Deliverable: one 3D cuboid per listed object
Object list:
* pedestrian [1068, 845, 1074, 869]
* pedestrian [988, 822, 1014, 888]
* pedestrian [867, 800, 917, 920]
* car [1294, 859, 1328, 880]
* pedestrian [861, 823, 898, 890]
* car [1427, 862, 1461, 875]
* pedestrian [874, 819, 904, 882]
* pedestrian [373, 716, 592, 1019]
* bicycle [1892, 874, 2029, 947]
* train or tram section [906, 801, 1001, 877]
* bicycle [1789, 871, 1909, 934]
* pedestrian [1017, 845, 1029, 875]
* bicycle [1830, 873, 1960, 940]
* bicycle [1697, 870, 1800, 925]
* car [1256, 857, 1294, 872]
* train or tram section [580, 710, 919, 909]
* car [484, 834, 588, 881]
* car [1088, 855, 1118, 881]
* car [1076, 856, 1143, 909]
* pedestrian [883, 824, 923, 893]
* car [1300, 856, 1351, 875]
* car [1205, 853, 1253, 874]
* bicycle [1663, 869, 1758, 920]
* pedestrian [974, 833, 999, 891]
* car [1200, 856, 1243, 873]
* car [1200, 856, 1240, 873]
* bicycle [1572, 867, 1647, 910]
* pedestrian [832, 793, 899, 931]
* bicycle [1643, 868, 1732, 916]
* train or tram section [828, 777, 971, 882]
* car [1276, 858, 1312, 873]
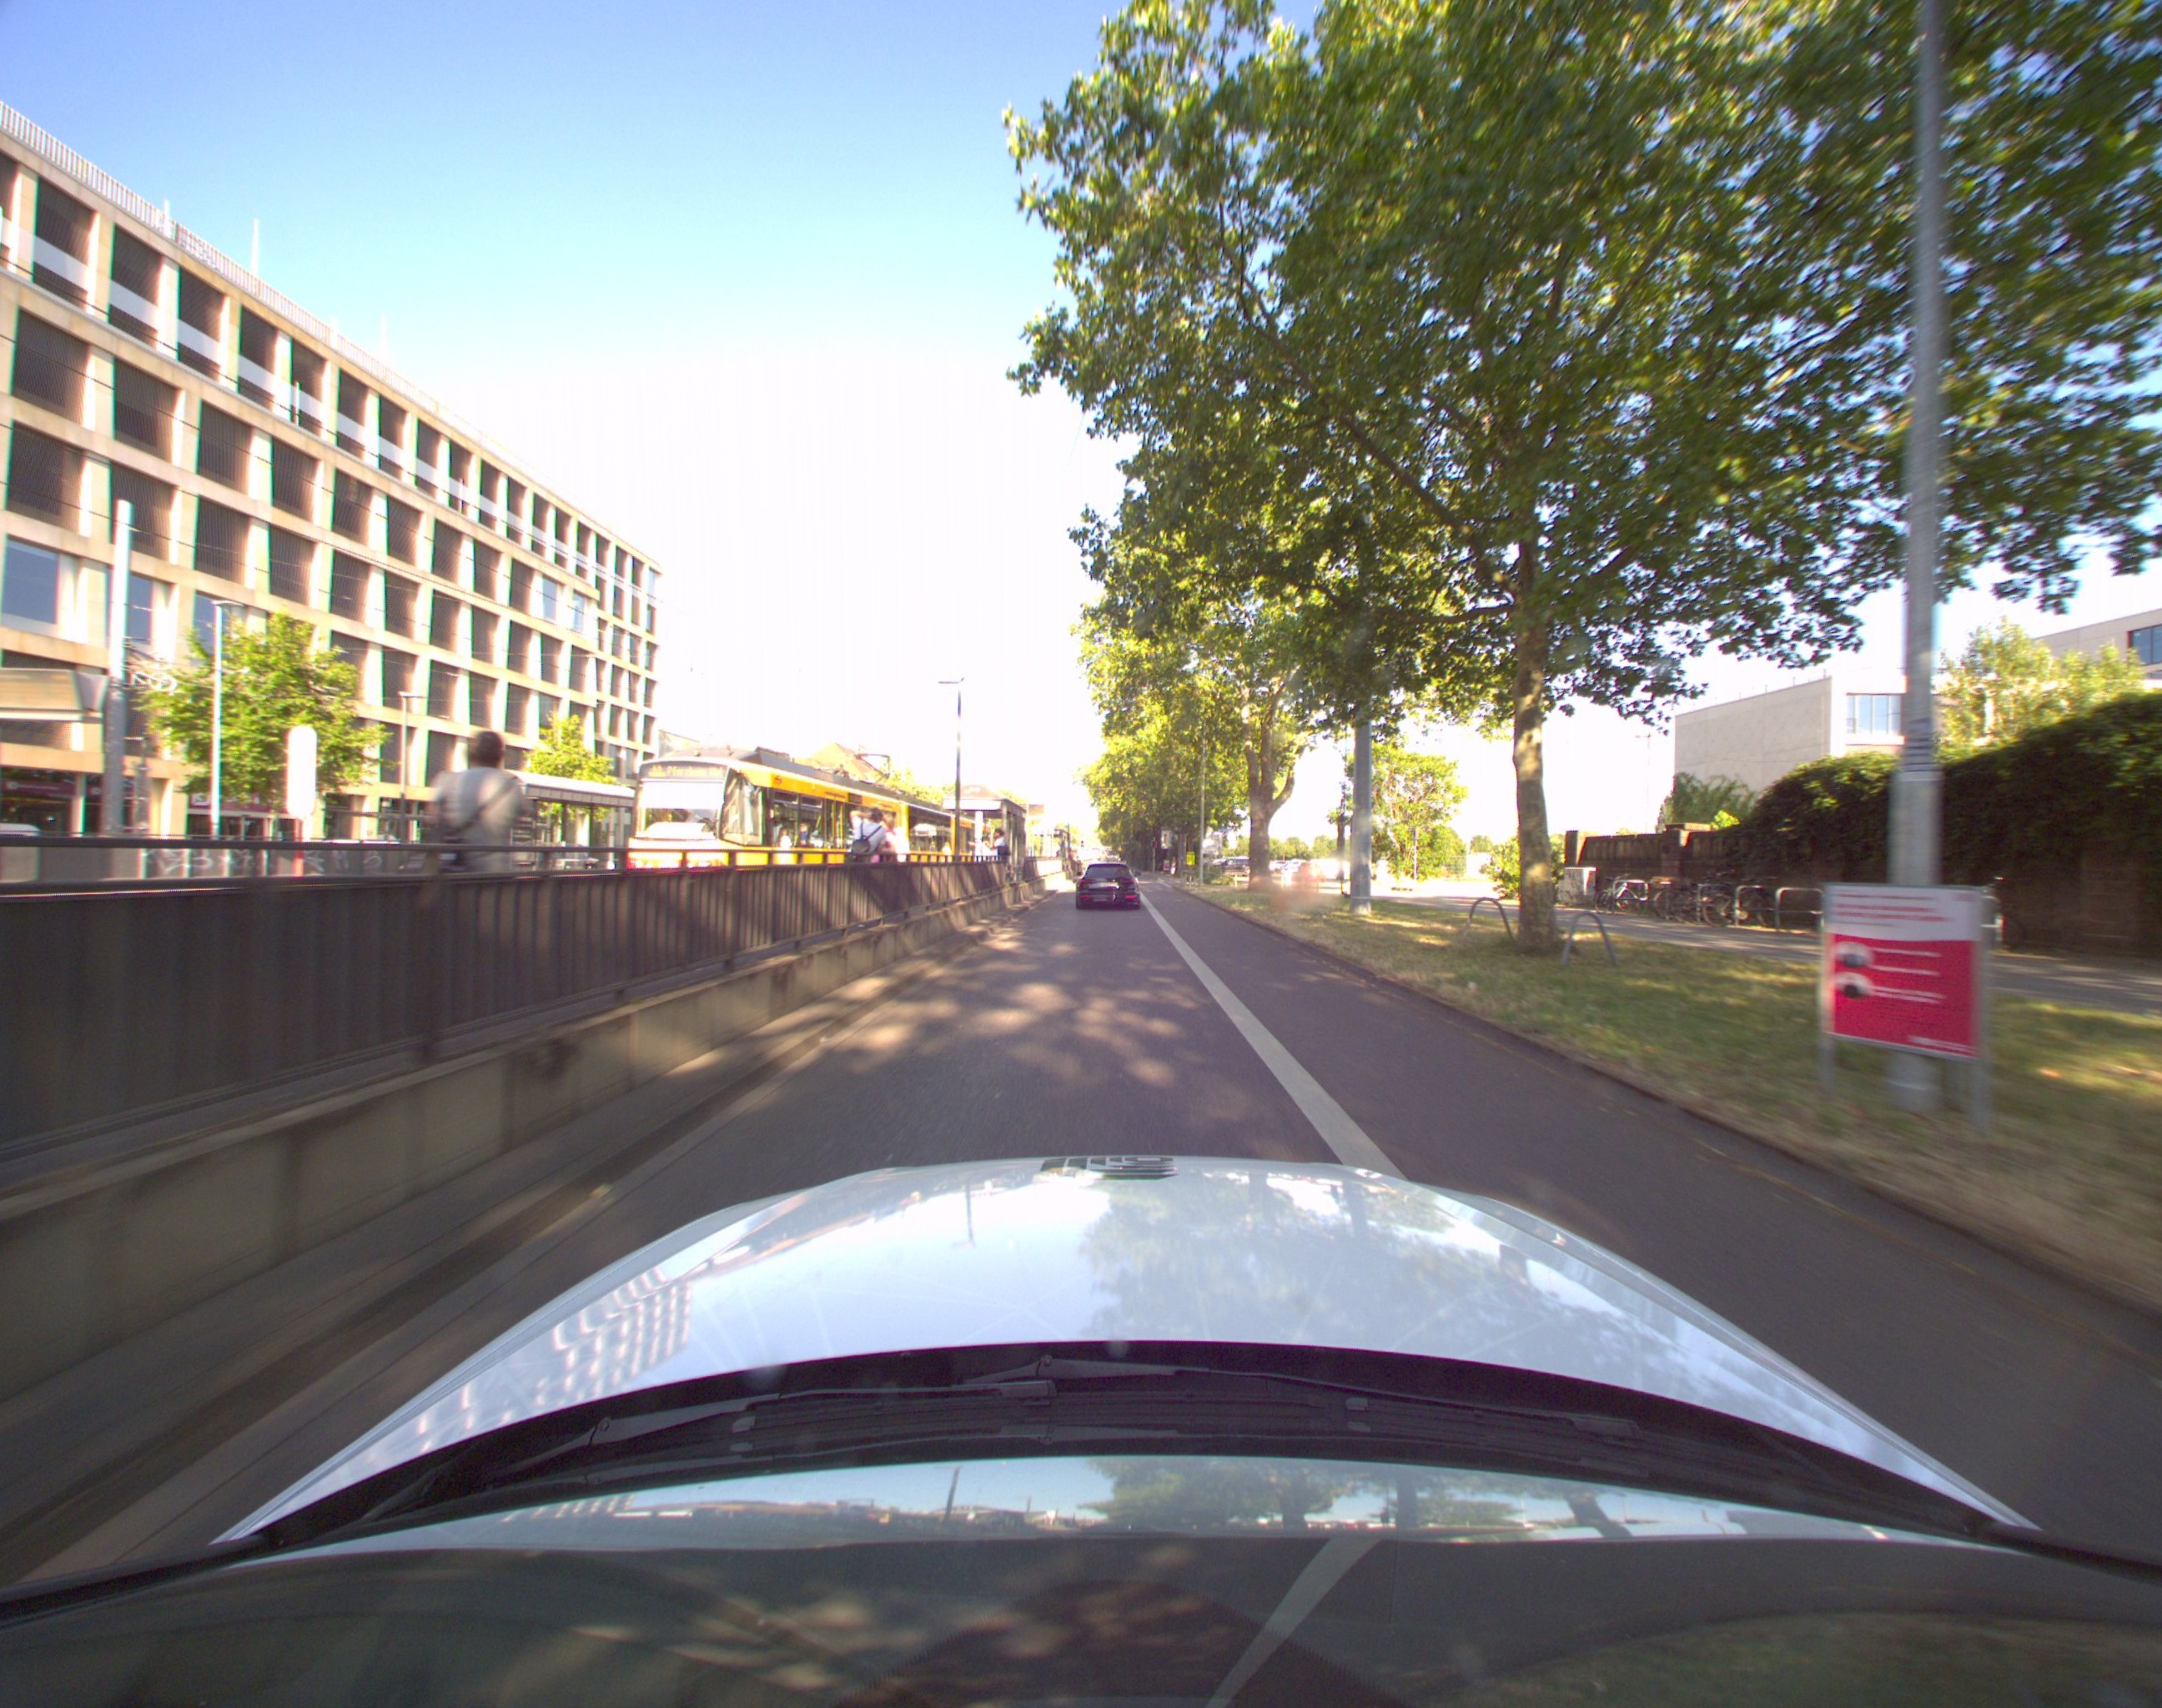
[{"bbox_3d":[-0.730,0.230,59.893,0.410,1.717,0.666,1,0,2],"label":"pedestrian"},{"bbox_3d":[-2.211,0.030,22.633,0.609,1.784,0.614,1,0,2],"label":"pedestrian"},{"bbox_3d":[-2.676,0.086,11.517,0.613,1.642,0.610,1,0,-18],"label":"pedestrian"},{"bbox_3d":[17.507,1.141,62.098,1.608,1.515,3.805,1,0,2],"label":"car"},{"bbox_3d":[-5.511,0.073,22.253,0.790,1.784,0.626,1,0,2],"label":"pedestrian"},{"bbox_3d":[49.217,1.929,110.506,3.803,1.601,1.649,1,0,-1],"label":"car"},{"bbox_3d":[-5.543,-0.091,23.553,0.609,1.784,0.775,1,0,2],"label":"pedestrian"},{"bbox_3d":[-3.320,0.063,4.574,0.610,1.549,0.727,1,0,12],"label":"pedestrian"},{"bbox_3d":[13.872,0.884,12.865,1.681,1.120,0.439,0,0,0],"label":"bicycle"},{"bbox_3d":[-7.188,-0.772,48.067,3.297,3.829,11.847,1,0,2],"label":"train or tram section"},{"bbox_3d":[14.023,0.880,14.880,1.767,1.120,0.439,0,0,0],"label":"bicycle"},{"bbox_3d":[-3.290,0.332,46.114,0.609,1.713,0.659,2,0,0],"label":"pedestrian"},{"bbox_3d":[13.910,0.887,13.932,1.767,1.120,0.439,0,0,0],"label":"bicycle"},{"bbox_3d":[13.934,0.898,17.016,1.767,1.120,0.439,0,0,0],"label":"bicycle"},{"bbox_3d":[24.706,1.328,104.045,4.341,1.816,1.998,1,0,-3],"label":"car"},{"bbox_3d":[-7.916,-0.860,23.063,3.297,3.829,14.224,1,0,2],"label":"train or tram section"},{"bbox_3d":[-24.720,0.149,37.125,1.987,2.013,3.999,1,0,-1],"label":"car"},{"bbox_3d":[1.366,0.867,52.550,1.757,1.619,3.999,1,0,0],"label":"car"},{"bbox_3d":[0.795,0.798,24.582,1.872,1.457,3.356,-1,0,-1],"label":"car"},{"bbox_3d":[-4.718,0.120,21.556,0.799,1.784,0.642,2,-1,-38],"label":"pedestrian"},{"bbox_3d":[23.752,1.097,79.238,4.436,1.658,1.921,1,0,6],"label":"car"},{"bbox_3d":[13.306,0.886,73.381,3.971,1.764,1.834,1,-1,2],"label":"car"},{"bbox_3d":[13.979,0.893,18.103,1.767,1.120,0.439,0,0,0],"label":"bicycle"},{"bbox_3d":[-2.948,0.241,25.450,0.607,1.784,0.681,1,0,2],"label":"pedestrian"},{"bbox_3d":[13.523,0.972,78.495,3.870,1.505,1.889,1,0,3],"label":"car"},{"bbox_3d":[13.008,0.970,76.284,3.580,1.462,1.679,1,0,2],"label":"car"},{"bbox_3d":[13.888,0.898,21.402,1.770,1.120,0.438,0,0,-6],"label":"bicycle"},{"bbox_3d":[-2.712,0.098,10.296,0.609,1.668,0.614,1,0,3],"label":"pedestrian"},{"bbox_3d":[14.239,0.891,19.144,1.767,1.120,0.439,0,0,0],"label":"bicycle"},{"bbox_3d":[-7.536,-0.888,36.183,3.297,3.829,11.847,1,0,2],"label":"train or tram section"},{"bbox_3d":[25.056,1.317,95.897,3.797,1.609,1.671,1,0,2],"label":"car"}]
